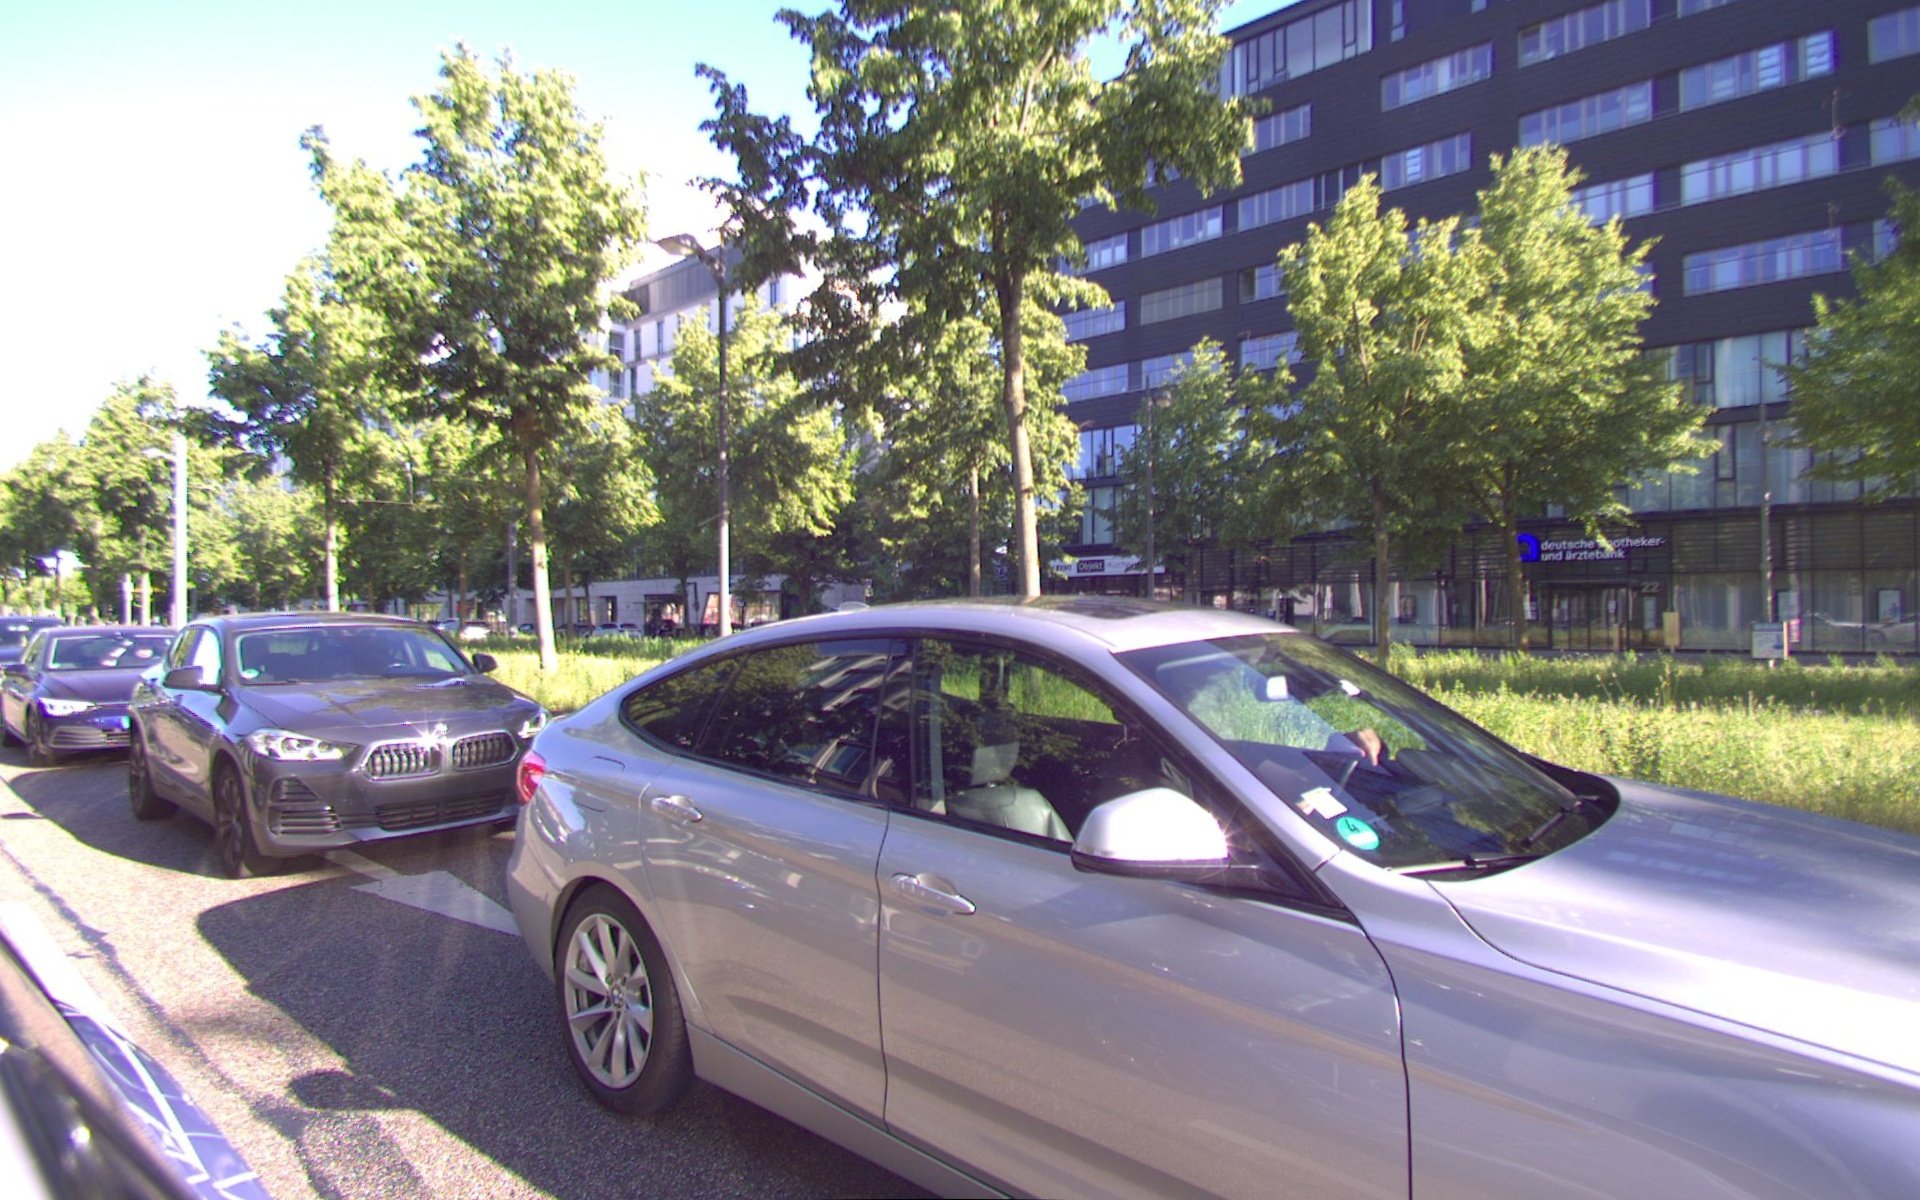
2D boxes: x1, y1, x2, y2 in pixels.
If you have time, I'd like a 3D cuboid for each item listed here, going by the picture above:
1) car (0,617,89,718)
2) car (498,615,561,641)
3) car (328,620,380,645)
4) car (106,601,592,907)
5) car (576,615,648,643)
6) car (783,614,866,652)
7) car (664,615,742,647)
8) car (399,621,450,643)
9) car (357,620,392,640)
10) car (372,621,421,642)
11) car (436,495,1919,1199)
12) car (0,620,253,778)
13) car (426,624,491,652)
[{"bbox_3d":[-16.824,1.128,17.814,4.164,1.602,1.788,-1,-1,42],"label":"car"},{"bbox_3d":[-29.721,1.918,69.812,4.785,1.711,1.988,-1,-1,38],"label":"car"},{"bbox_3d":[-43.721,2.349,72.948,4.790,1.742,1.834,-1,-1,41],"label":"car"},{"bbox_3d":[-4.435,0.813,7.089,4.027,1.534,1.789,-1,-1,41],"label":"car"},{"bbox_3d":[-21.750,1.807,63.238,4.785,1.711,1.988,-1,-1,38],"label":"car"},{"bbox_3d":[-6.653,1.583,49.507,3.998,1.762,1.834,-1,-1,41],"label":"car"},{"bbox_3d":[-14.331,1.714,56.337,4.790,1.697,1.834,-1,-1,41],"label":"car"},{"bbox_3d":[-42.973,2.564,81.205,4.788,1.711,1.986,-1,-1,40],"label":"car"},{"bbox_3d":[-51.016,2.626,88.159,3.741,1.682,1.581,-1,-1,41],"label":"car"},{"bbox_3d":[-47.359,2.637,85.007,4.788,1.711,1.986,-1,-1,40],"label":"car"},{"bbox_3d":[0.515,0.667,2.748,4.739,1.500,1.790,-1,-1,40],"label":"car"},{"bbox_3d":[-9.742,0.980,11.591,4.253,1.465,1.789,-1,-1,42],"label":"car"},{"bbox_3d":[-26.240,1.951,52.888,3.998,1.403,1.644,-1,-1,41],"label":"car"}]
